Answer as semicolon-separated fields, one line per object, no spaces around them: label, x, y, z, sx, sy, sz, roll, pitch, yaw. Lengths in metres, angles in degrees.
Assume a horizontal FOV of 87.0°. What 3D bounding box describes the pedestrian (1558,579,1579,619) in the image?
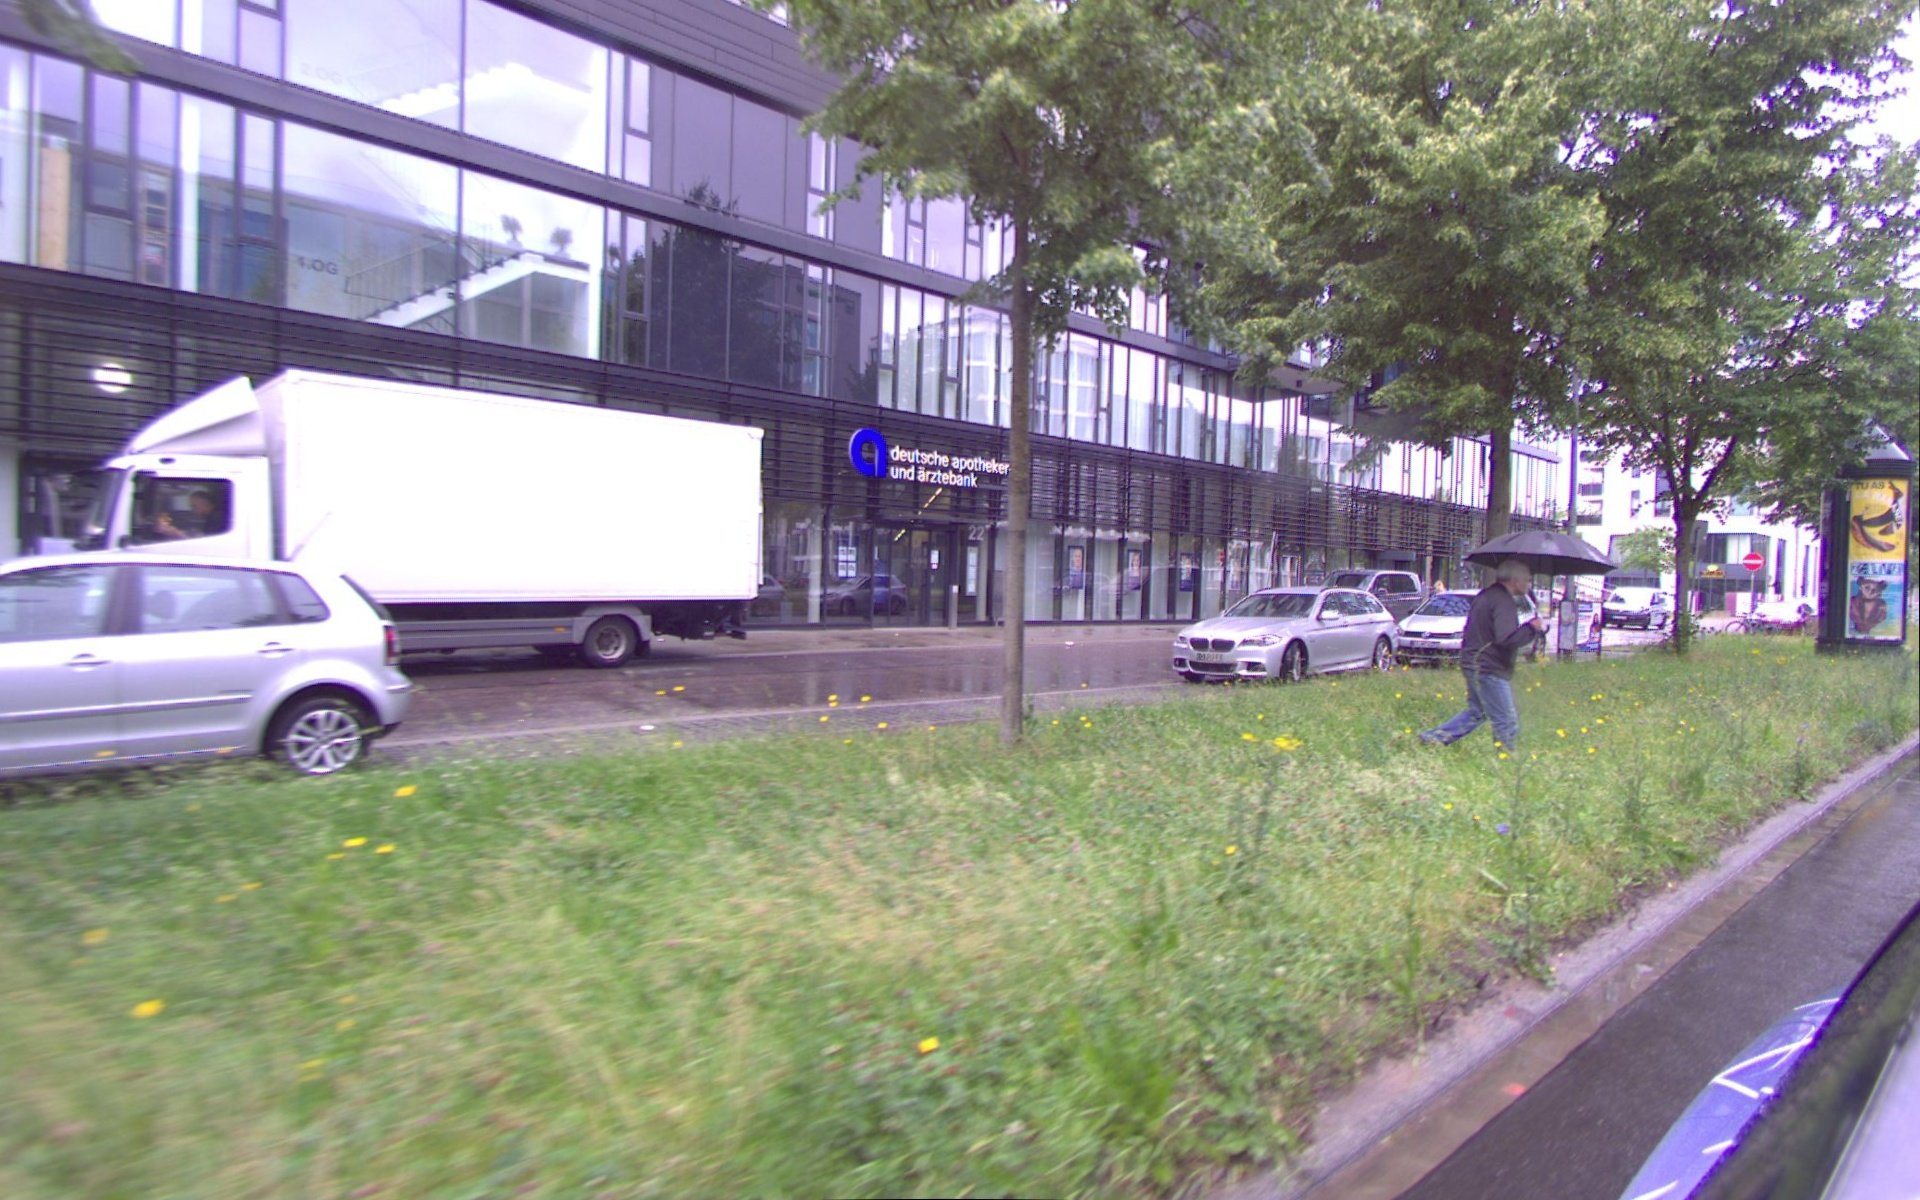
pedestrian;27.023;-0.032;44.952;0.626;1.727;0.646;2;-1;44

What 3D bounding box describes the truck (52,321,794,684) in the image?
truck;-6.643;-0.970;13.757;8.405;3.484;3.028;0;1;-44

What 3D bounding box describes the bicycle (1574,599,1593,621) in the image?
bicycle;27.508;0.427;44.669;0.436;0.909;1.212;3;-1;45

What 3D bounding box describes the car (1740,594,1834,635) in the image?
car;32.387;0.557;39.580;4.872;1.473;1.998;1;1;-41

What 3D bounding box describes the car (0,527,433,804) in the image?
car;-5.855;0.370;5.894;4.645;1.470;1.771;-1;-1;-44

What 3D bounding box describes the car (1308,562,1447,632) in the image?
car;12.767;-0.103;30.773;5.062;1.944;1.996;0;1;-43

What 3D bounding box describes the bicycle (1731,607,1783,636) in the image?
bicycle;26.936;0.707;34.227;0.424;0.929;1.464;3;0;-9

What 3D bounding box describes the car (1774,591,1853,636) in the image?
car;36.978;0.585;43.812;4.144;1.729;1.997;3;0;-42

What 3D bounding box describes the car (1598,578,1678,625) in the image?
car;29.665;0.074;44.228;4.645;1.889;1.895;1;1;-44

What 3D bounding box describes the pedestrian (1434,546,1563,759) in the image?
pedestrian;4.072;0.360;7.650;0.688;1.512;0.643;1;1;-43

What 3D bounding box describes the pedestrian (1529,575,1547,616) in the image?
pedestrian;26.897;-0.216;47.096;0.500;1.856;0.574;3;-1;13

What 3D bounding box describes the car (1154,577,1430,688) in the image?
car;5.450;0.426;16.174;5.150;1.462;1.995;0;1;-44

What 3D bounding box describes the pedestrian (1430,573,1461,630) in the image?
pedestrian;15.292;0.045;31.872;0.789;1.761;0.580;4;-1;-43

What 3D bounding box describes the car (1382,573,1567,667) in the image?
car;10.063;0.411;19.669;4.027;1.616;1.764;3;0;-41
